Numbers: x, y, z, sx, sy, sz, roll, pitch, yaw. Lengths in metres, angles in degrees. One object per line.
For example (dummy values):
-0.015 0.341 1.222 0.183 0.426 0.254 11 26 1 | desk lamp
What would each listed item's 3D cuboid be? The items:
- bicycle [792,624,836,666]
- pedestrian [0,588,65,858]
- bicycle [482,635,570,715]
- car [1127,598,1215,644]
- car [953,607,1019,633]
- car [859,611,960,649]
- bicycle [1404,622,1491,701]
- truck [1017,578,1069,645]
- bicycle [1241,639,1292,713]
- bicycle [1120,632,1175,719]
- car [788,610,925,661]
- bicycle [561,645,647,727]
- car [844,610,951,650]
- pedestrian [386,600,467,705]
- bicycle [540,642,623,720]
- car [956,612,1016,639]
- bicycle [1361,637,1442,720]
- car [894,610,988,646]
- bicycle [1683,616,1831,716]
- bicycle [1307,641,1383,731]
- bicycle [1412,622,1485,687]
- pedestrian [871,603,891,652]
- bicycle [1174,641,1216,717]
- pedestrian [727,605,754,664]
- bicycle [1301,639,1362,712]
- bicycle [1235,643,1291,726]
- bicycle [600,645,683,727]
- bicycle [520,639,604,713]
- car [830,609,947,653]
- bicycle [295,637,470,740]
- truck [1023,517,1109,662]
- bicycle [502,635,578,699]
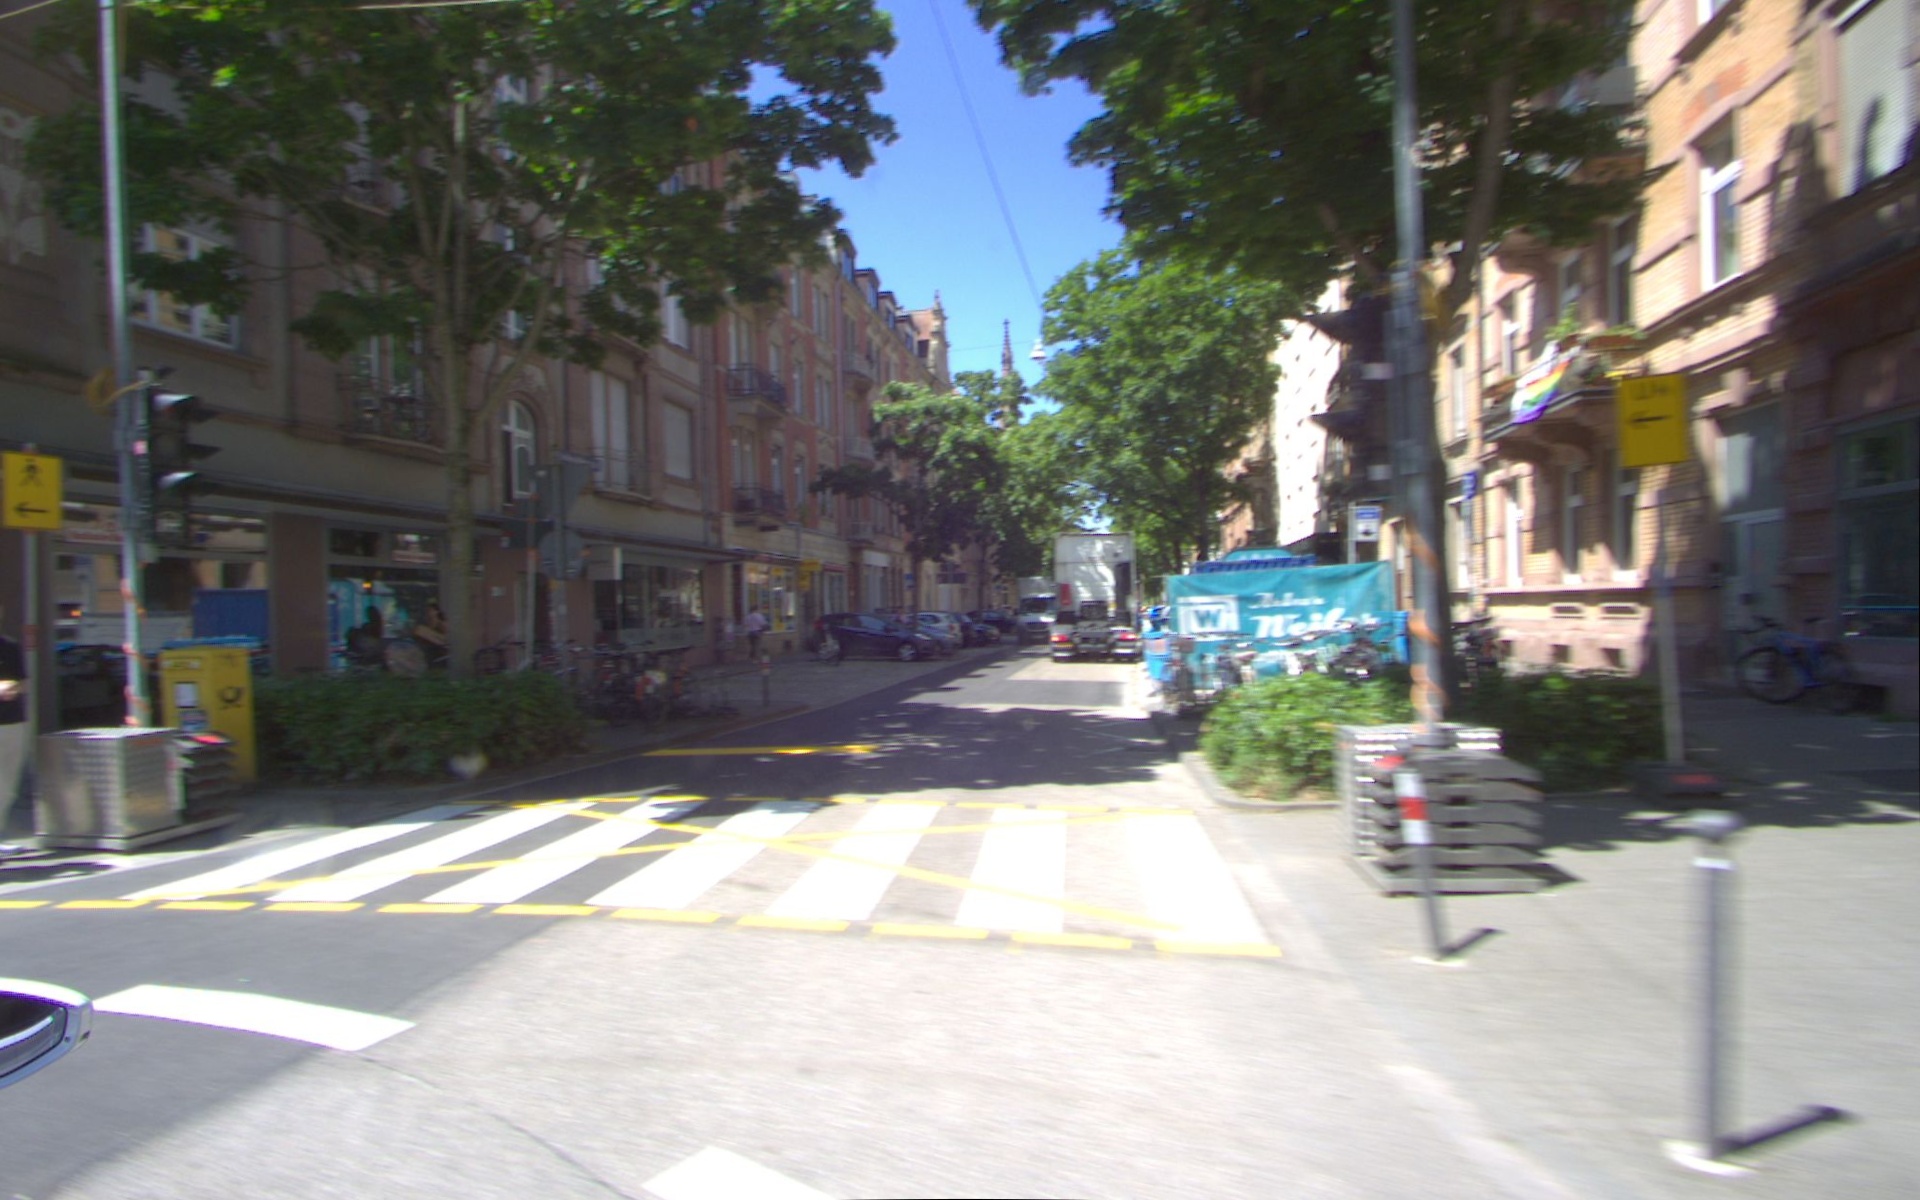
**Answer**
-3.970 1.204 27.208 0.536 1.059 1.928 -1 0 -28 | bicycle
-6.656 0.826 6.891 0.462 1.793 0.576 2 3 0 | pedestrian
-6.656 1.121 15.435 0.461 1.095 1.766 1 0 5 | bicycle
9.290 0.929 44.179 3.722 1.895 1.771 -1 0 12 | car
1.586 1.206 60.824 3.855 1.483 1.618 -1 0 6 | car
-1.987 1.196 40.063 3.779 1.458 1.792 0 0 6 | car
6.167 0.745 12.759 0.499 0.883 2.073 -1 0 12 | bicycle
3.835 0.524 45.696 1.962 2.894 4.266 -1 0 10 | truck
4.305 1.039 14.157 0.499 0.883 2.073 -1 0 12 | bicycle
2.651 1.041 14.307 0.499 1.121 1.785 -1 0 2 | bicycle
-3.065 1.039 30.124 3.779 1.458 1.792 0 0 6 | car
-5.003 1.184 14.173 0.461 1.010 1.766 1 0 5 | bicycle
-2.342 1.109 37.931 3.779 1.458 1.792 0 0 6 | car
-8.637 0.832 16.229 0.772 1.655 0.858 -1 0 8 | pedestrian
-5.539 1.161 14.749 0.461 1.019 1.689 1 0 5 | bicycle
1.519 1.459 57.632 3.356 1.483 1.618 -1 0 6 | car
5.495 0.950 12.560 0.499 0.883 2.073 -1 0 12 | bicycle
-0.787 1.170 42.580 3.779 1.458 1.792 0 0 6 | car
8.869 0.700 11.224 0.512 1.021 1.696 -1 0 9 | bicycle
4.483 0.962 11.754 0.499 0.883 2.073 -1 0 12 | bicycle
7.412 0.798 15.278 0.499 0.883 2.073 -1 0 12 | bicycle
-2.634 0.919 33.343 0.533 1.604 0.478 -1 1 7 | pedestrian
3.187 1.038 13.655 0.499 0.883 2.073 -1 0 12 | bicycle
-6.127 0.962 27.915 0.549 1.636 0.492 -1 1 13 | pedestrian
5.242 1.034 14.215 0.499 0.883 2.073 -1 0 12 | bicycle
3.702 1.002 12.331 0.499 0.883 1.744 -1 0 12 | bicycle
-4.445 1.172 14.088 0.461 1.010 1.766 1 0 5 | bicycle
-6.106 1.144 15.449 0.461 1.010 1.766 1 0 5 | bicycle
-2.454 1.069 34.875 3.779 1.458 1.792 0 0 6 | car
-7.319 1.079 12.819 0.508 1.147 1.980 -1 0 26 | bicycle
3.293 -0.265 30.352 2.245 4.006 4.475 -1 0 10 | truck
-7.402 1.160 17.736 0.495 1.010 1.729 1 0 5 | bicycle
